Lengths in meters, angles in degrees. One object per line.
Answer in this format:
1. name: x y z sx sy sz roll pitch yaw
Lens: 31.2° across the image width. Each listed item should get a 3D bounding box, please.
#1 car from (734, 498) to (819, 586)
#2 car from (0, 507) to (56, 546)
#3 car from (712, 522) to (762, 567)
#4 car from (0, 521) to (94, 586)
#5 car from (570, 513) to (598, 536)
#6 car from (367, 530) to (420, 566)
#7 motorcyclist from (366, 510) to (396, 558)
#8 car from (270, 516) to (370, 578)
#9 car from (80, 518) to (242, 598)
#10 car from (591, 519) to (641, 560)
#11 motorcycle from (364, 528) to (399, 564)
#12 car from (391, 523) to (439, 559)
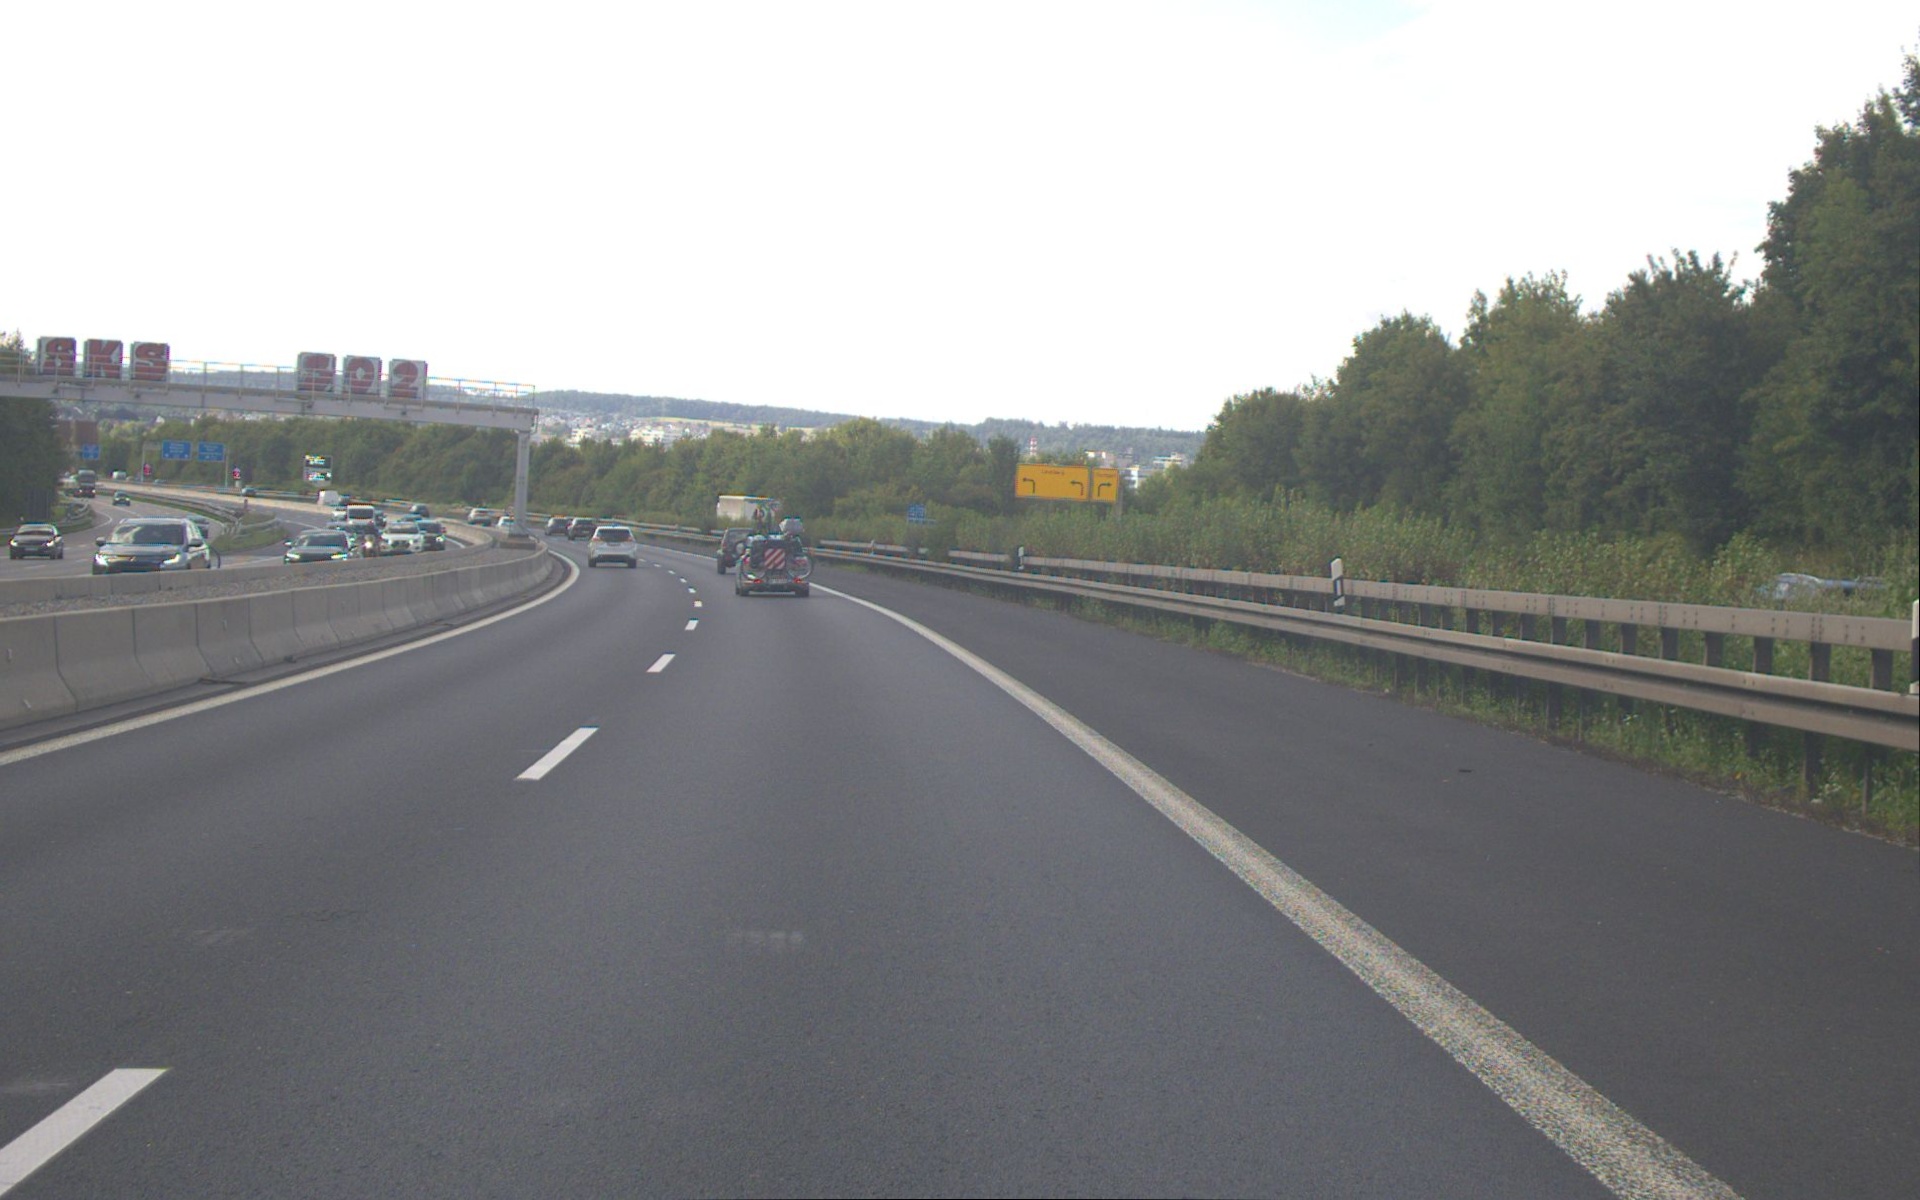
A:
1. car: -4.747 -1.520 88.423 2.030 2.144 4.001 1 2 -5
2. car: -37.554 -2.954 138.377 1.738 1.504 4.001 1 1 -7
3. car: -8.381 -2.104 129.159 1.586 1.591 4.097 1 2 -7
4. car: -22.412 -1.146 83.558 1.914 1.504 4.001 1 1 -3
5. car: -27.502 -5.515 251.369 1.604 1.552 4.001 1 0 -12
6. car: -24.240 -2.232 147.164 1.760 1.455 4.296 1 1 -3
7. motorcyclist: -19.958 -2.263 118.557 0.895 1.628 0.922 1 1 -3
8. car: -17.582 -1.442 94.633 1.993 1.621 4.778 1 0 -2
9. car: -15.946 -0.861 68.895 1.982 1.504 5.961 1 1 -1
10. car: -14.328 -2.504 143.112 1.993 1.678 4.001 1 0 -6
11. motorcycle: -19.952 -1.868 118.612 0.922 1.184 2.640 1 1 -5
12. car: -26.154 -2.847 165.094 1.876 1.692 4.315 1 1 -3
